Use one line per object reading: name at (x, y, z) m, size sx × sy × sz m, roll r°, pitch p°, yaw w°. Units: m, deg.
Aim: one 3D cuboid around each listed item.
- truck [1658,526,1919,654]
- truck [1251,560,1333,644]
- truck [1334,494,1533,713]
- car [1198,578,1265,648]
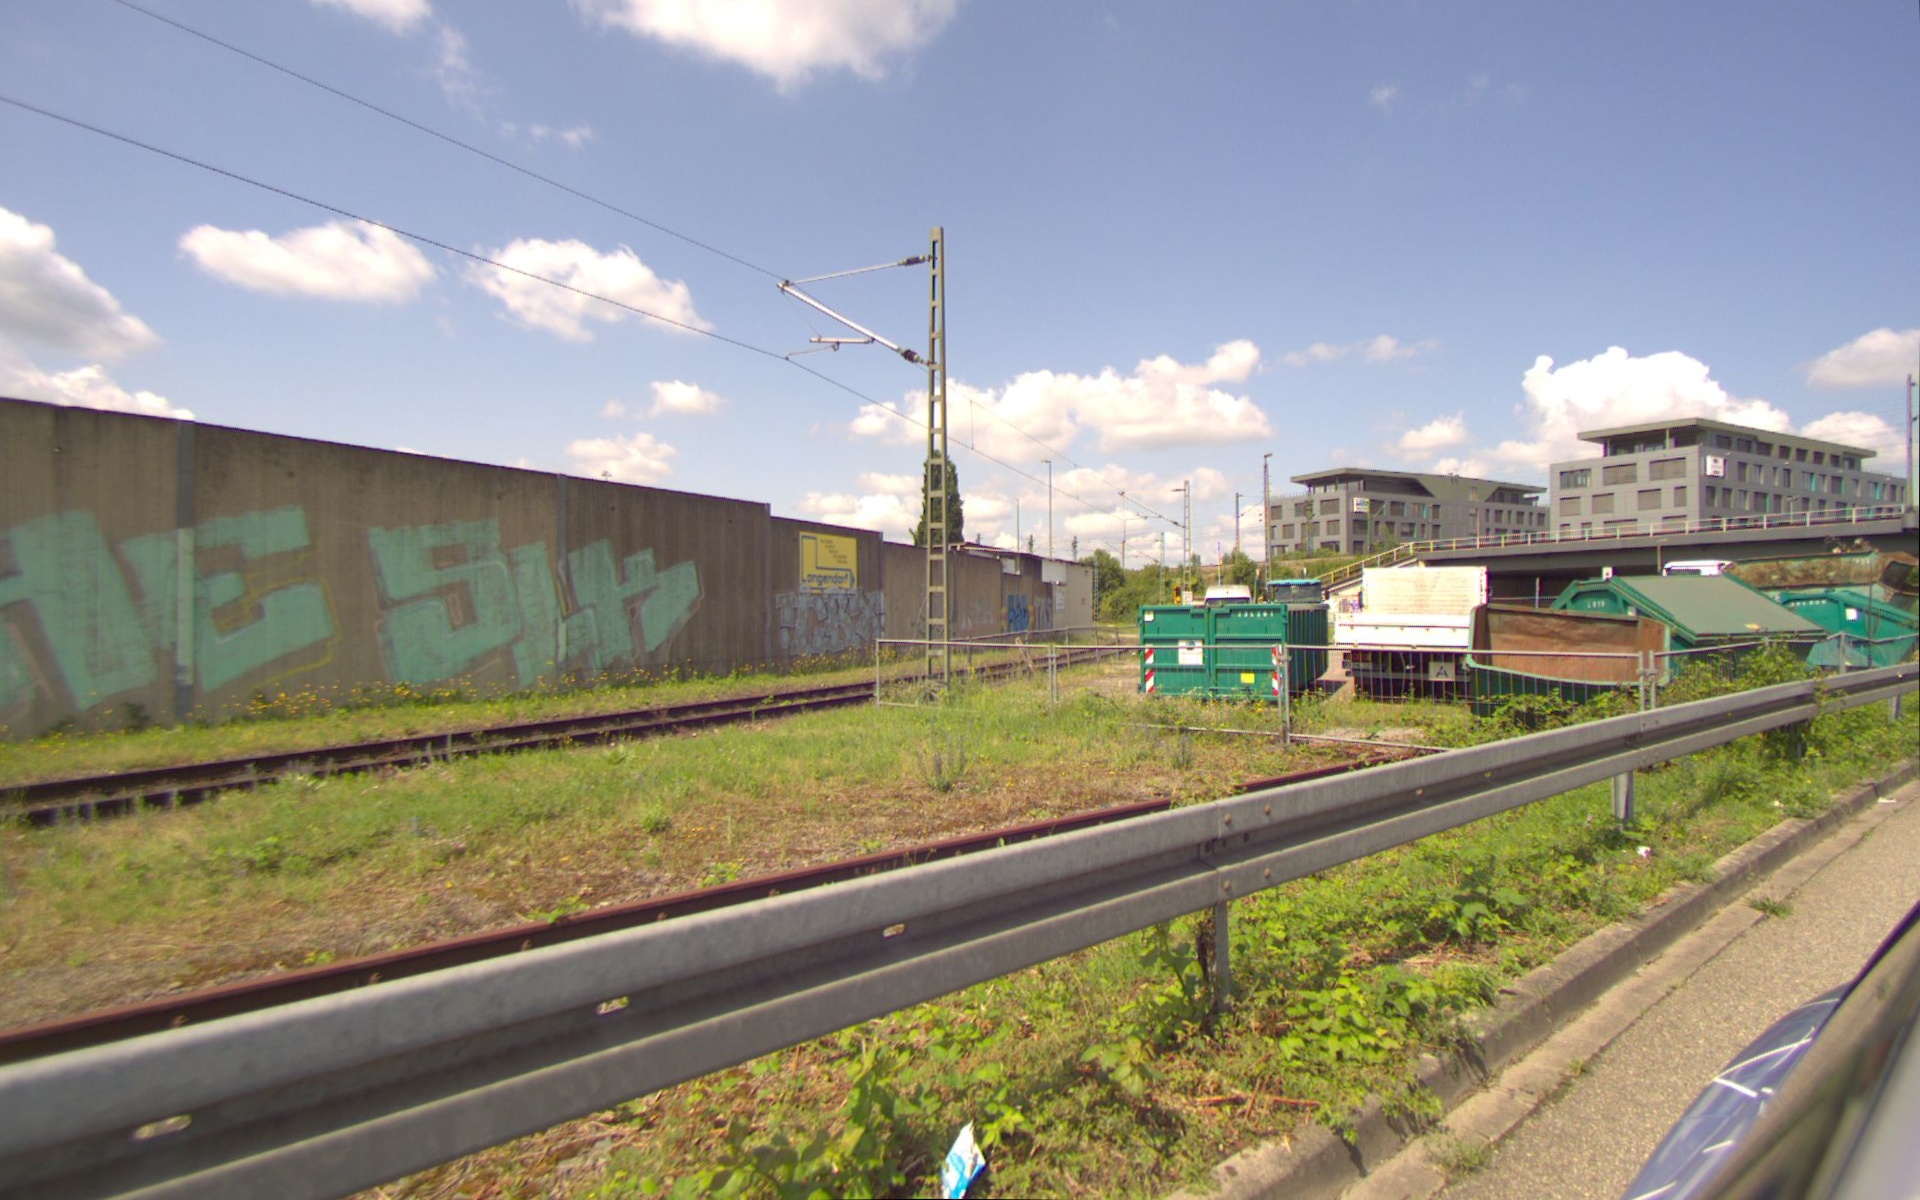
truck at (22.703, -0.275, 27.815) m, size 1.960 × 3.137 × 5.520 m, roll 0°, pitch 0°, yaw -30°
truck at (15.848, 0.070, 48.736) m, size 2.613 × 3.692 × 6.869 m, roll -2°, pitch 0°, yaw 10°
truck at (9.488, 0.018, 20.280) m, size 2.965 × 3.462 × 8.040 m, roll 0°, pitch 0°, yaw 26°
car at (10.916, 0.488, 40.375) m, size 2.040 × 2.559 × 5.844 m, roll -2°, pitch 0°, yaw 20°
